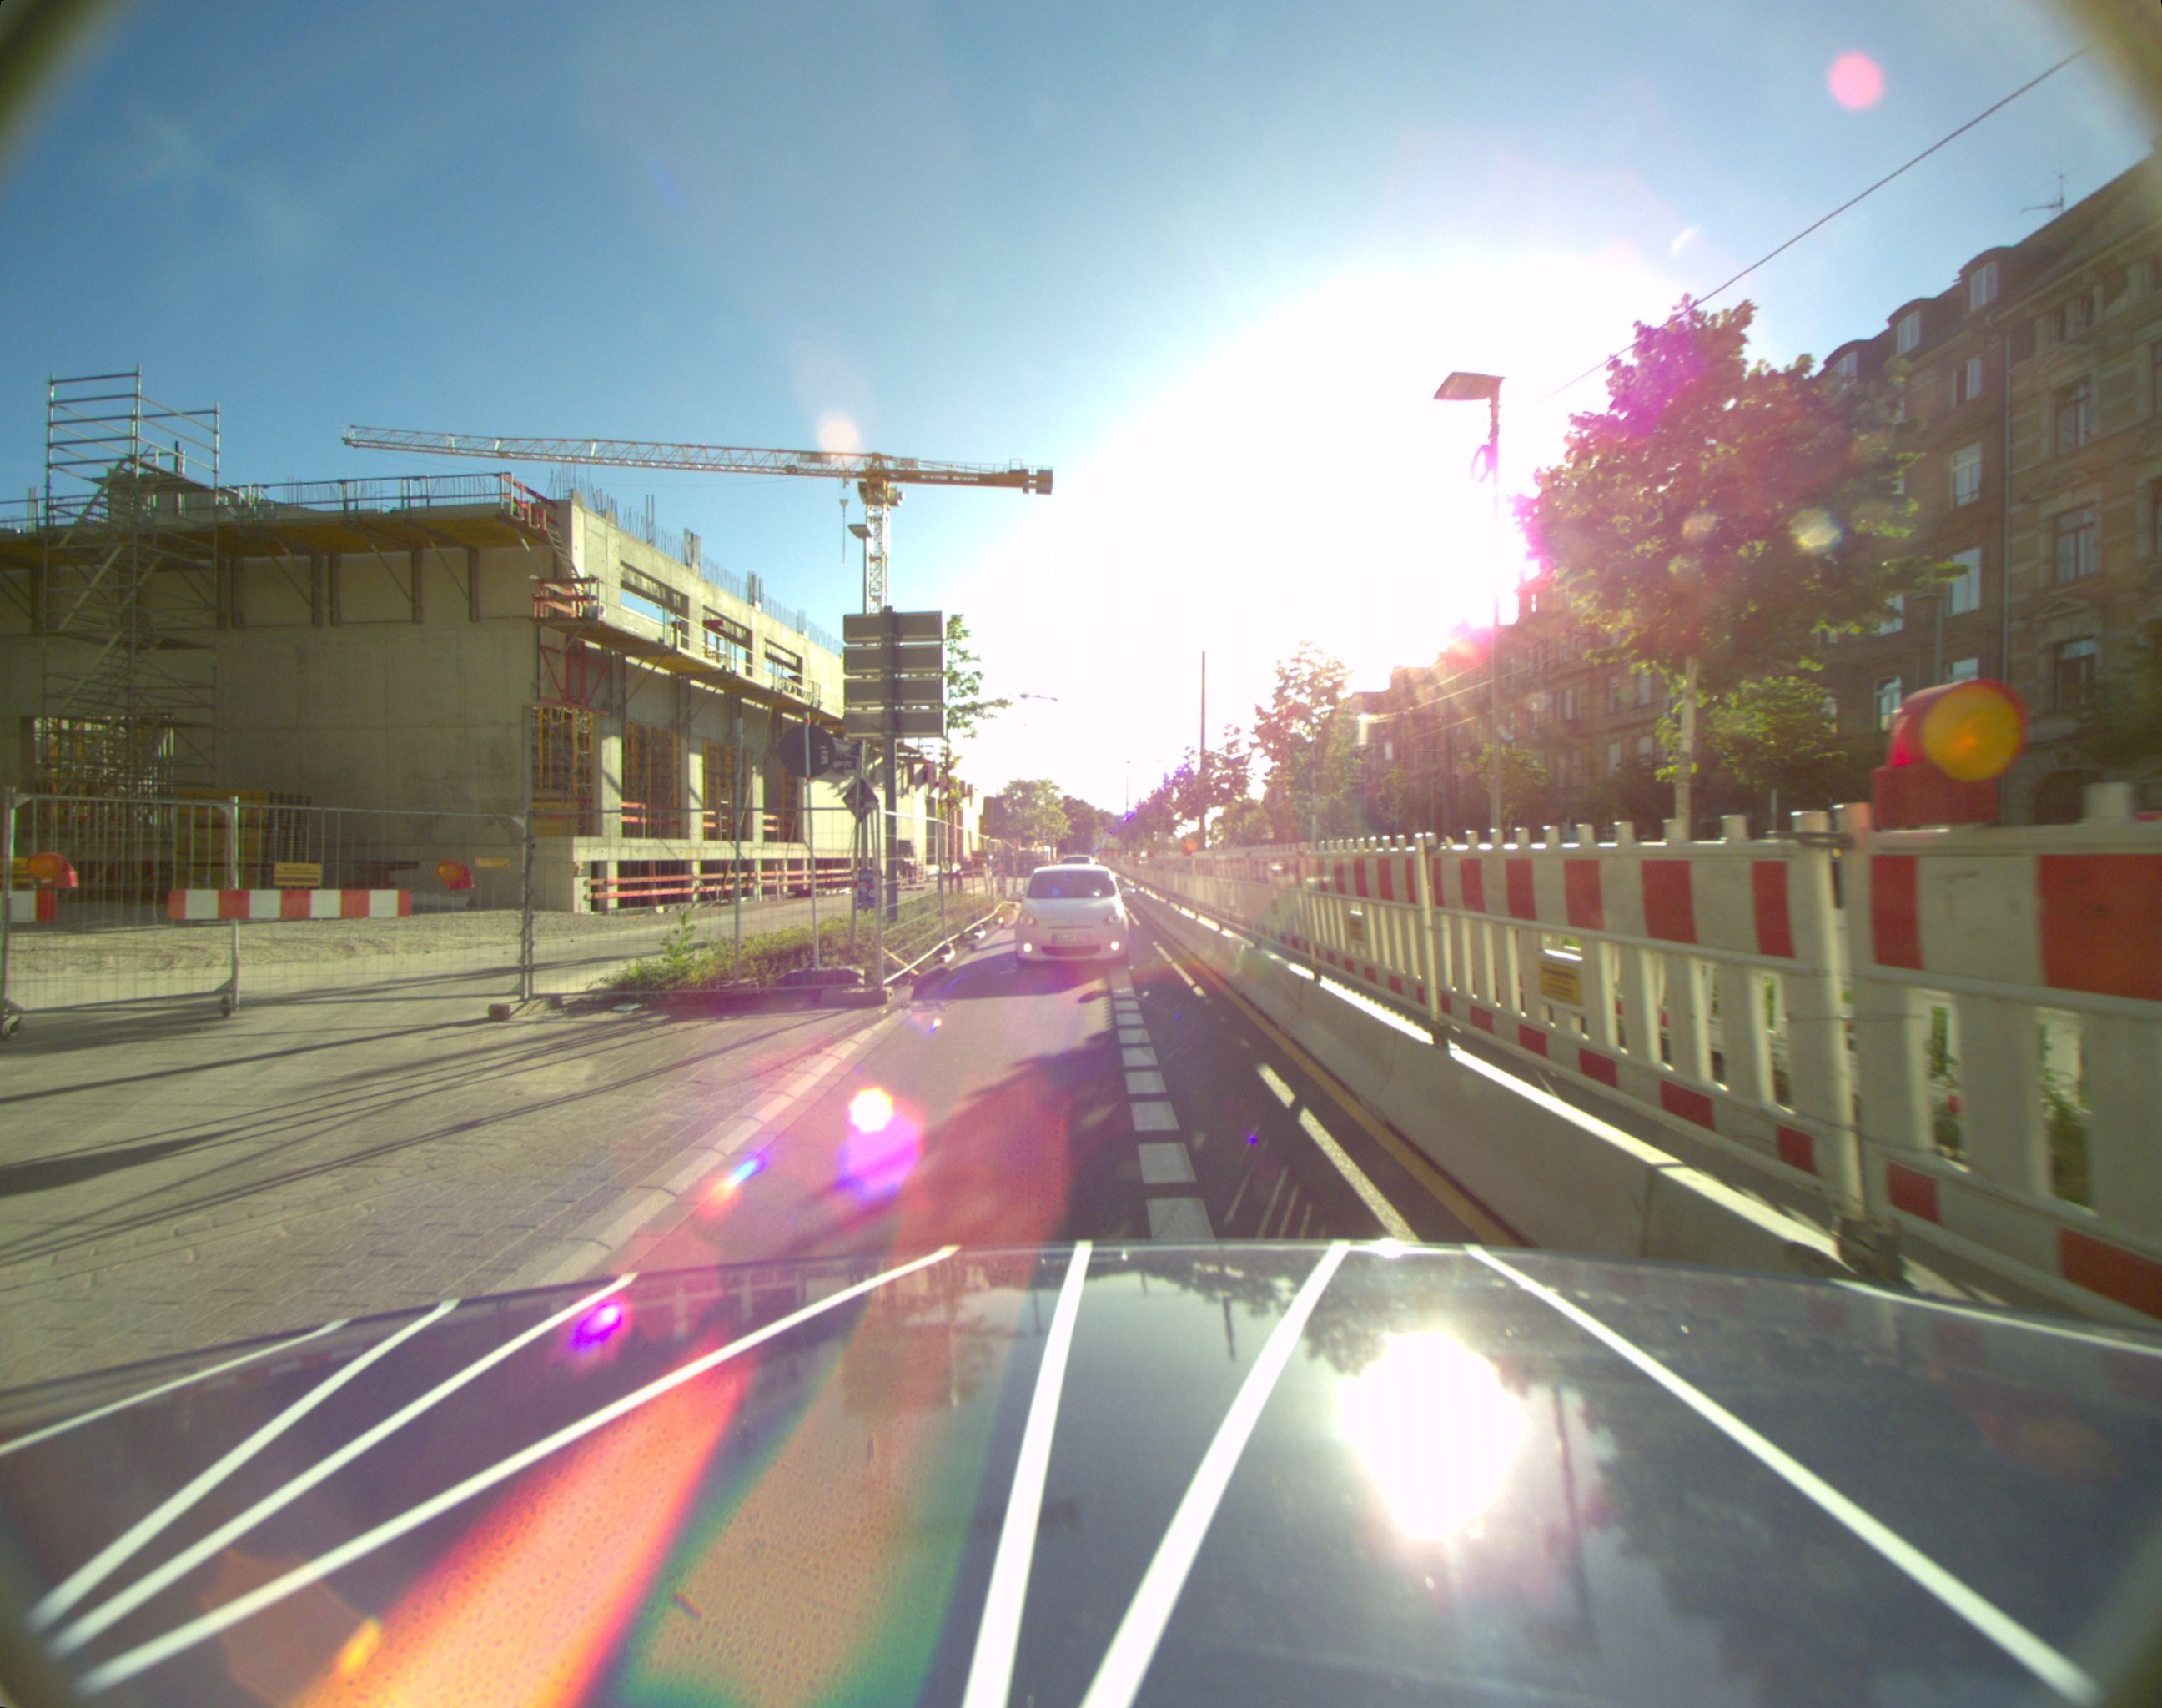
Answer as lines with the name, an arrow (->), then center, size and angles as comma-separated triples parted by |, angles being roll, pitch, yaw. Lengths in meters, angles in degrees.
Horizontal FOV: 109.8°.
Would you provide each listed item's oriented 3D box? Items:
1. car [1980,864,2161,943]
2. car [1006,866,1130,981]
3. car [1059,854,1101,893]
car -> 22.572, 1.012, 16.328 | 1.753, 1.471, 4.027 | -2, 0, 1
car -> -0.147, 0.981, 12.561 | 1.634, 1.499, 4.351 | -2, -1, 1
car -> -0.046, 0.931, 38.113 | 1.900, 1.730, 3.999 | -2, 1, 0
